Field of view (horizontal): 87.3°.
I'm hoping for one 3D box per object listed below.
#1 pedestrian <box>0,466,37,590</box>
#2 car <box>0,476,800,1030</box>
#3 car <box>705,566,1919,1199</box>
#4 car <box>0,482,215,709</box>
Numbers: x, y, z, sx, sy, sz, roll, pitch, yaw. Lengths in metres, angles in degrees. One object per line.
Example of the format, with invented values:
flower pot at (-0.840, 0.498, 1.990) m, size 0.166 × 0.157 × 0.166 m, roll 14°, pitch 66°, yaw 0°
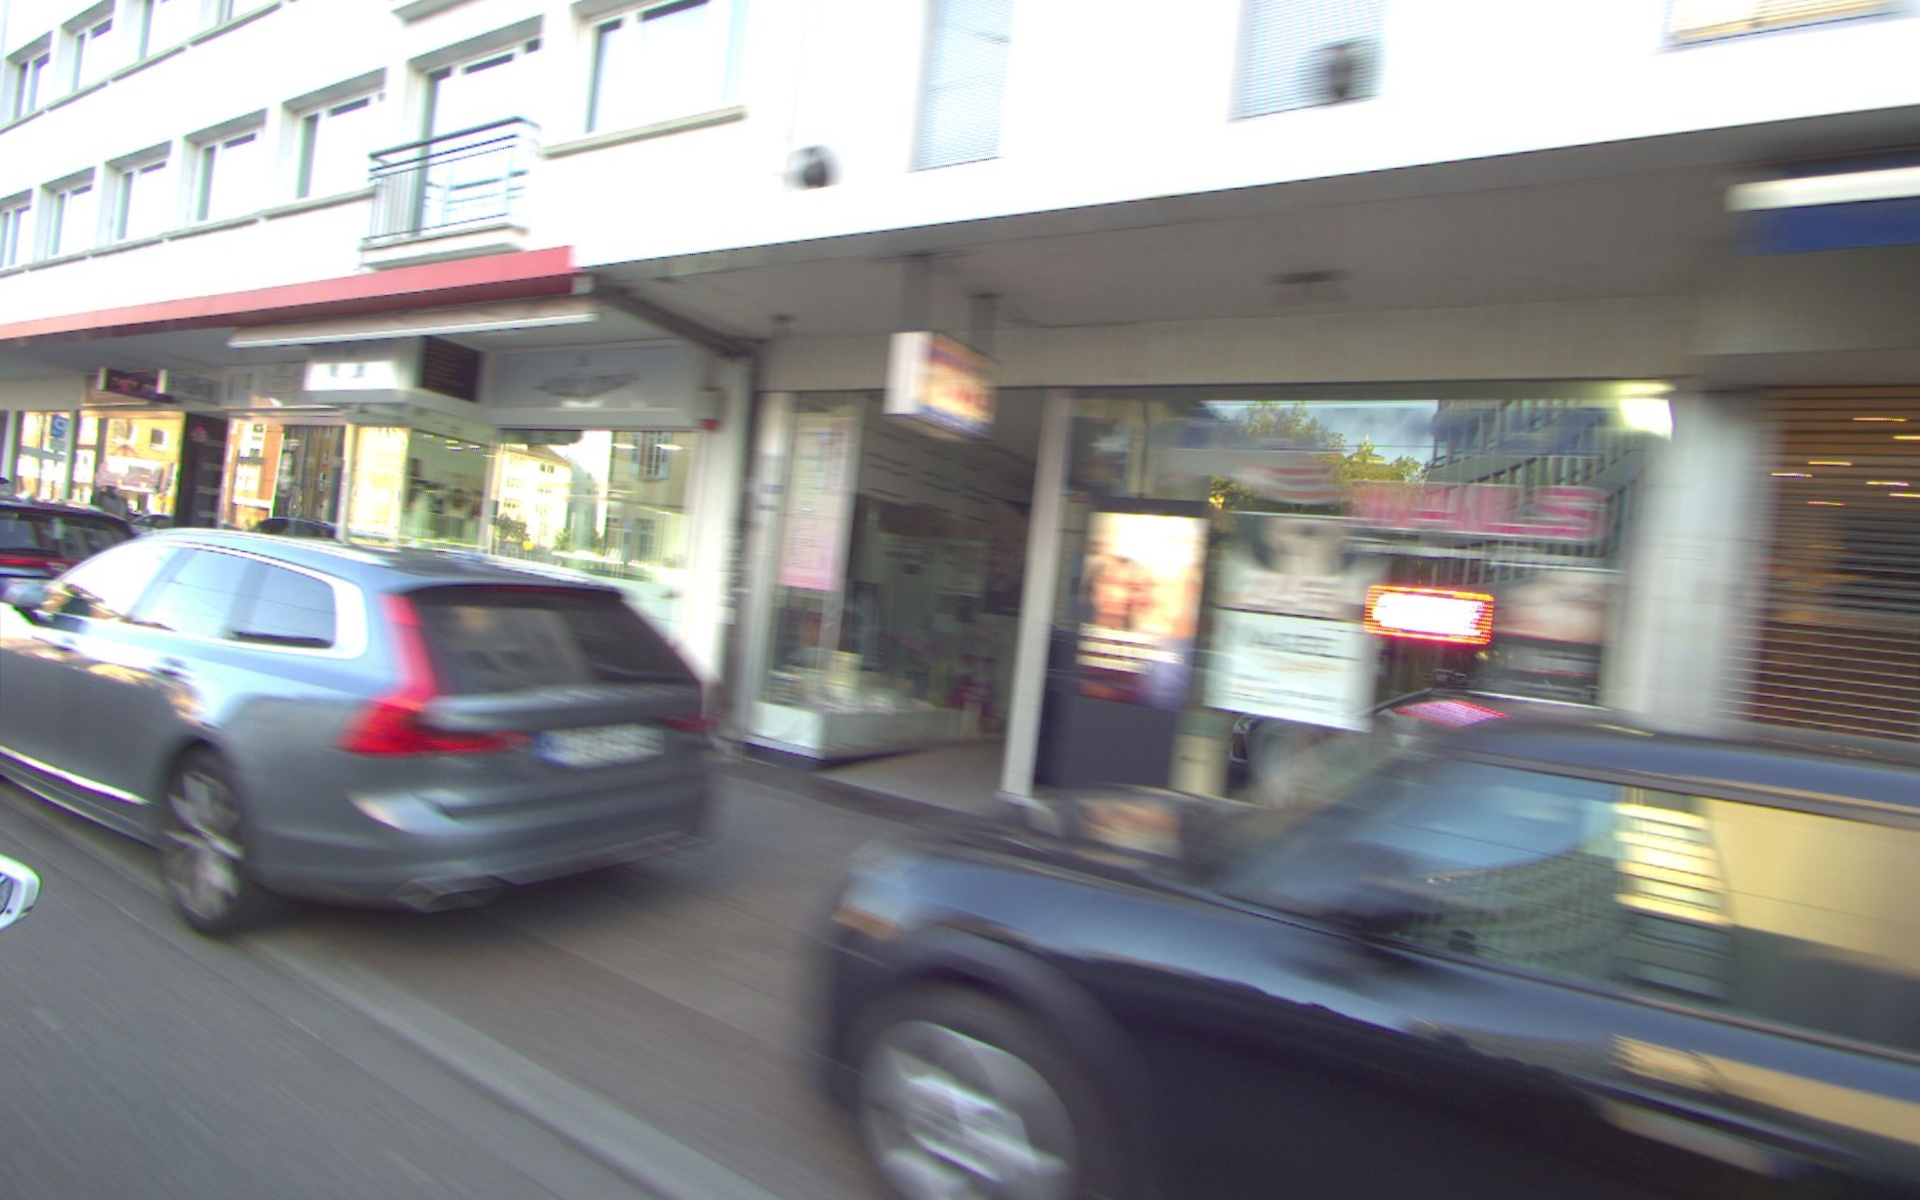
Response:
pedestrian at (-15.446, -1.183, 15.993) m, size 0.919 × 1.904 × 0.775 m, roll 7°, pitch 0°, yaw 30°
car at (-3.302, 0.377, 4.989) m, size 4.775 × 1.550 × 1.796 m, roll 6°, pitch -2°, yaw 31°
car at (1.520, 0.925, 2.364) m, size 3.934 × 1.498 × 1.730 m, roll 6°, pitch -2°, yaw 32°
car at (-8.265, -0.218, 8.345) m, size 4.285 × 1.539 × 1.785 m, roll 7°, pitch -2°, yaw 32°
